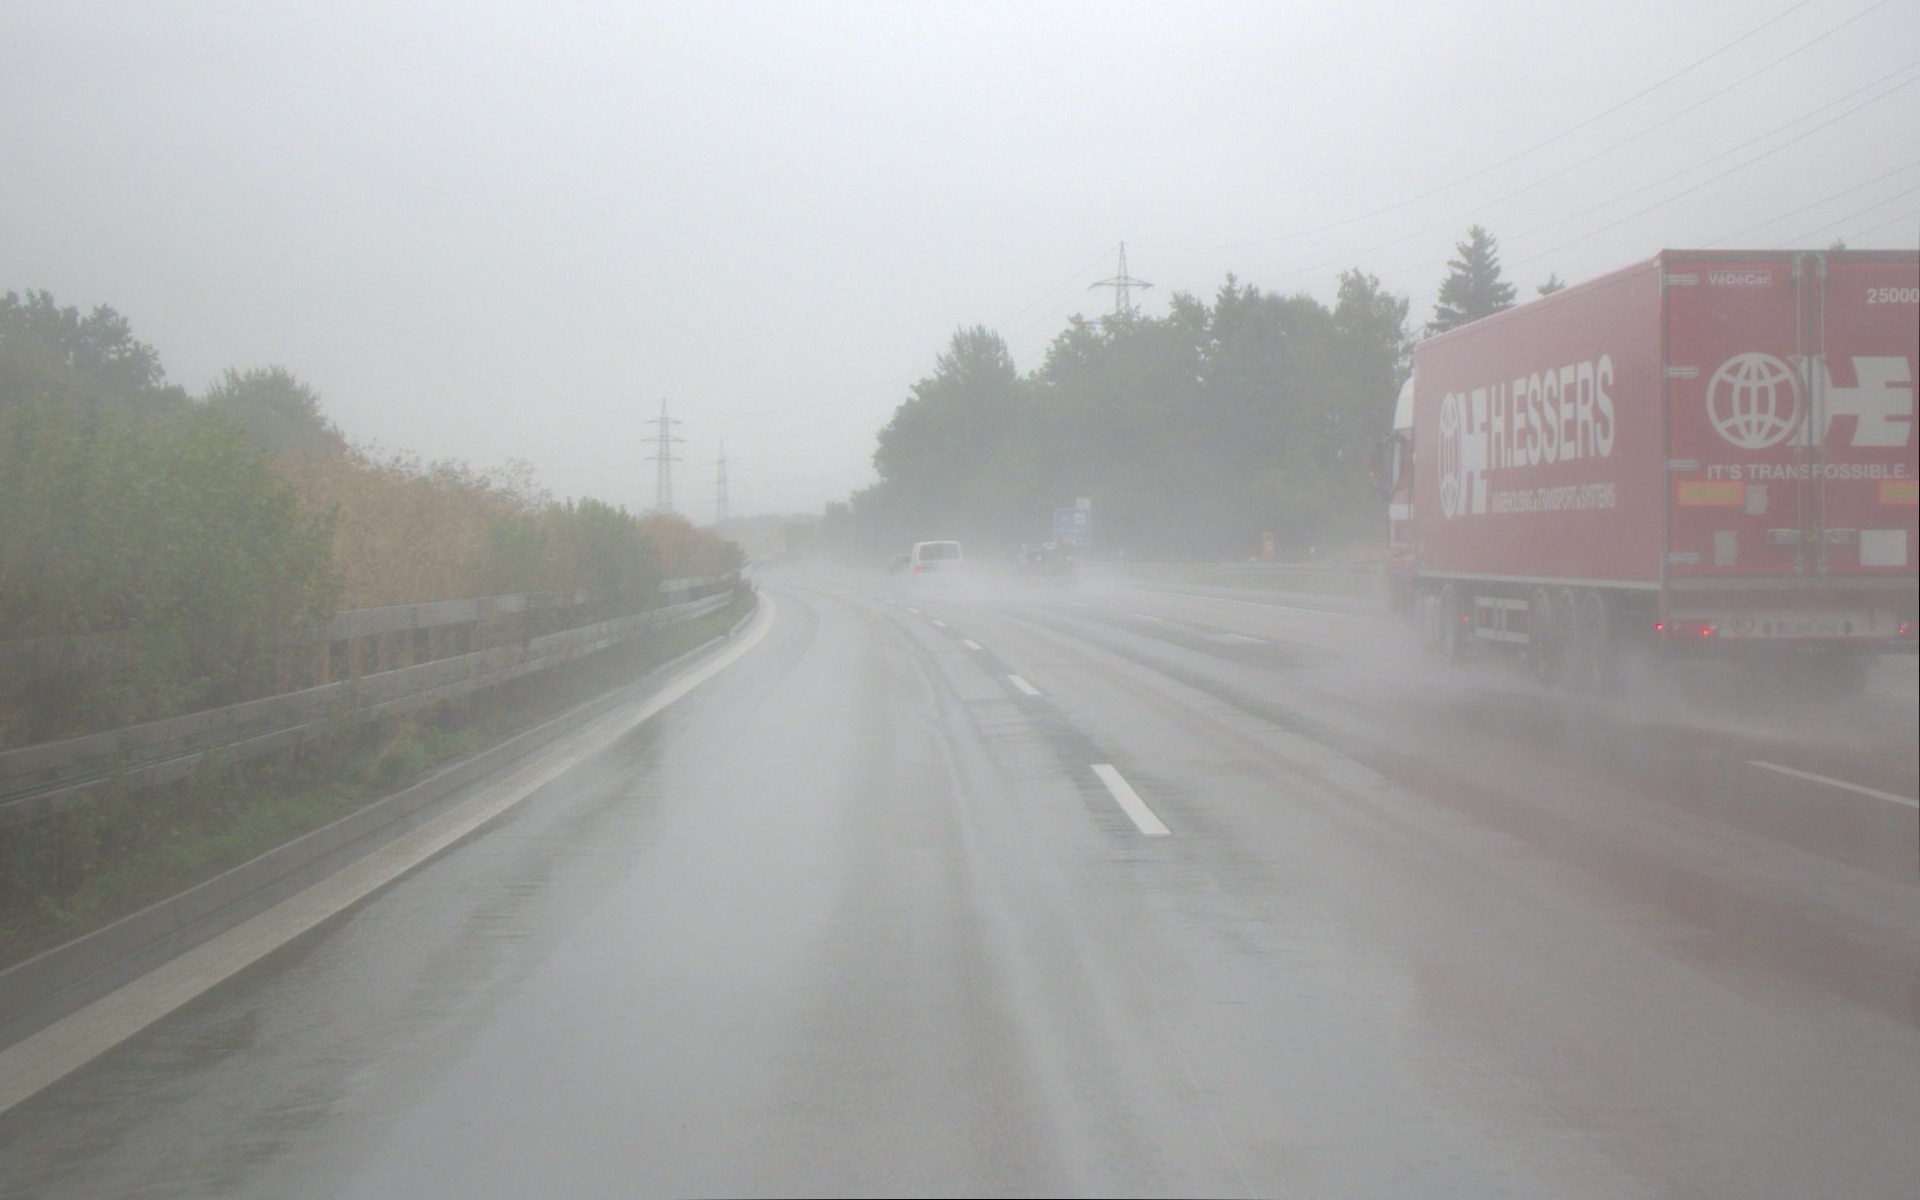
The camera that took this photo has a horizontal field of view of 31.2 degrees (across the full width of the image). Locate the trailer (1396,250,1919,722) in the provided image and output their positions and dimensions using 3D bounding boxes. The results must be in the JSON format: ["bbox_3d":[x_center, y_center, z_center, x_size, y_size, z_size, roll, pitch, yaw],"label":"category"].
[{"bbox_3d":[7.024,-1.077,36.086,2.620,3.942,13.632,-2,1,-2],"label":"trailer"}]

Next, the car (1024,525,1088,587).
[{"bbox_3d":[3.469,-1.607,124.881,1.806,2.151,4.001,-2,1,-6],"label":"car"}]
